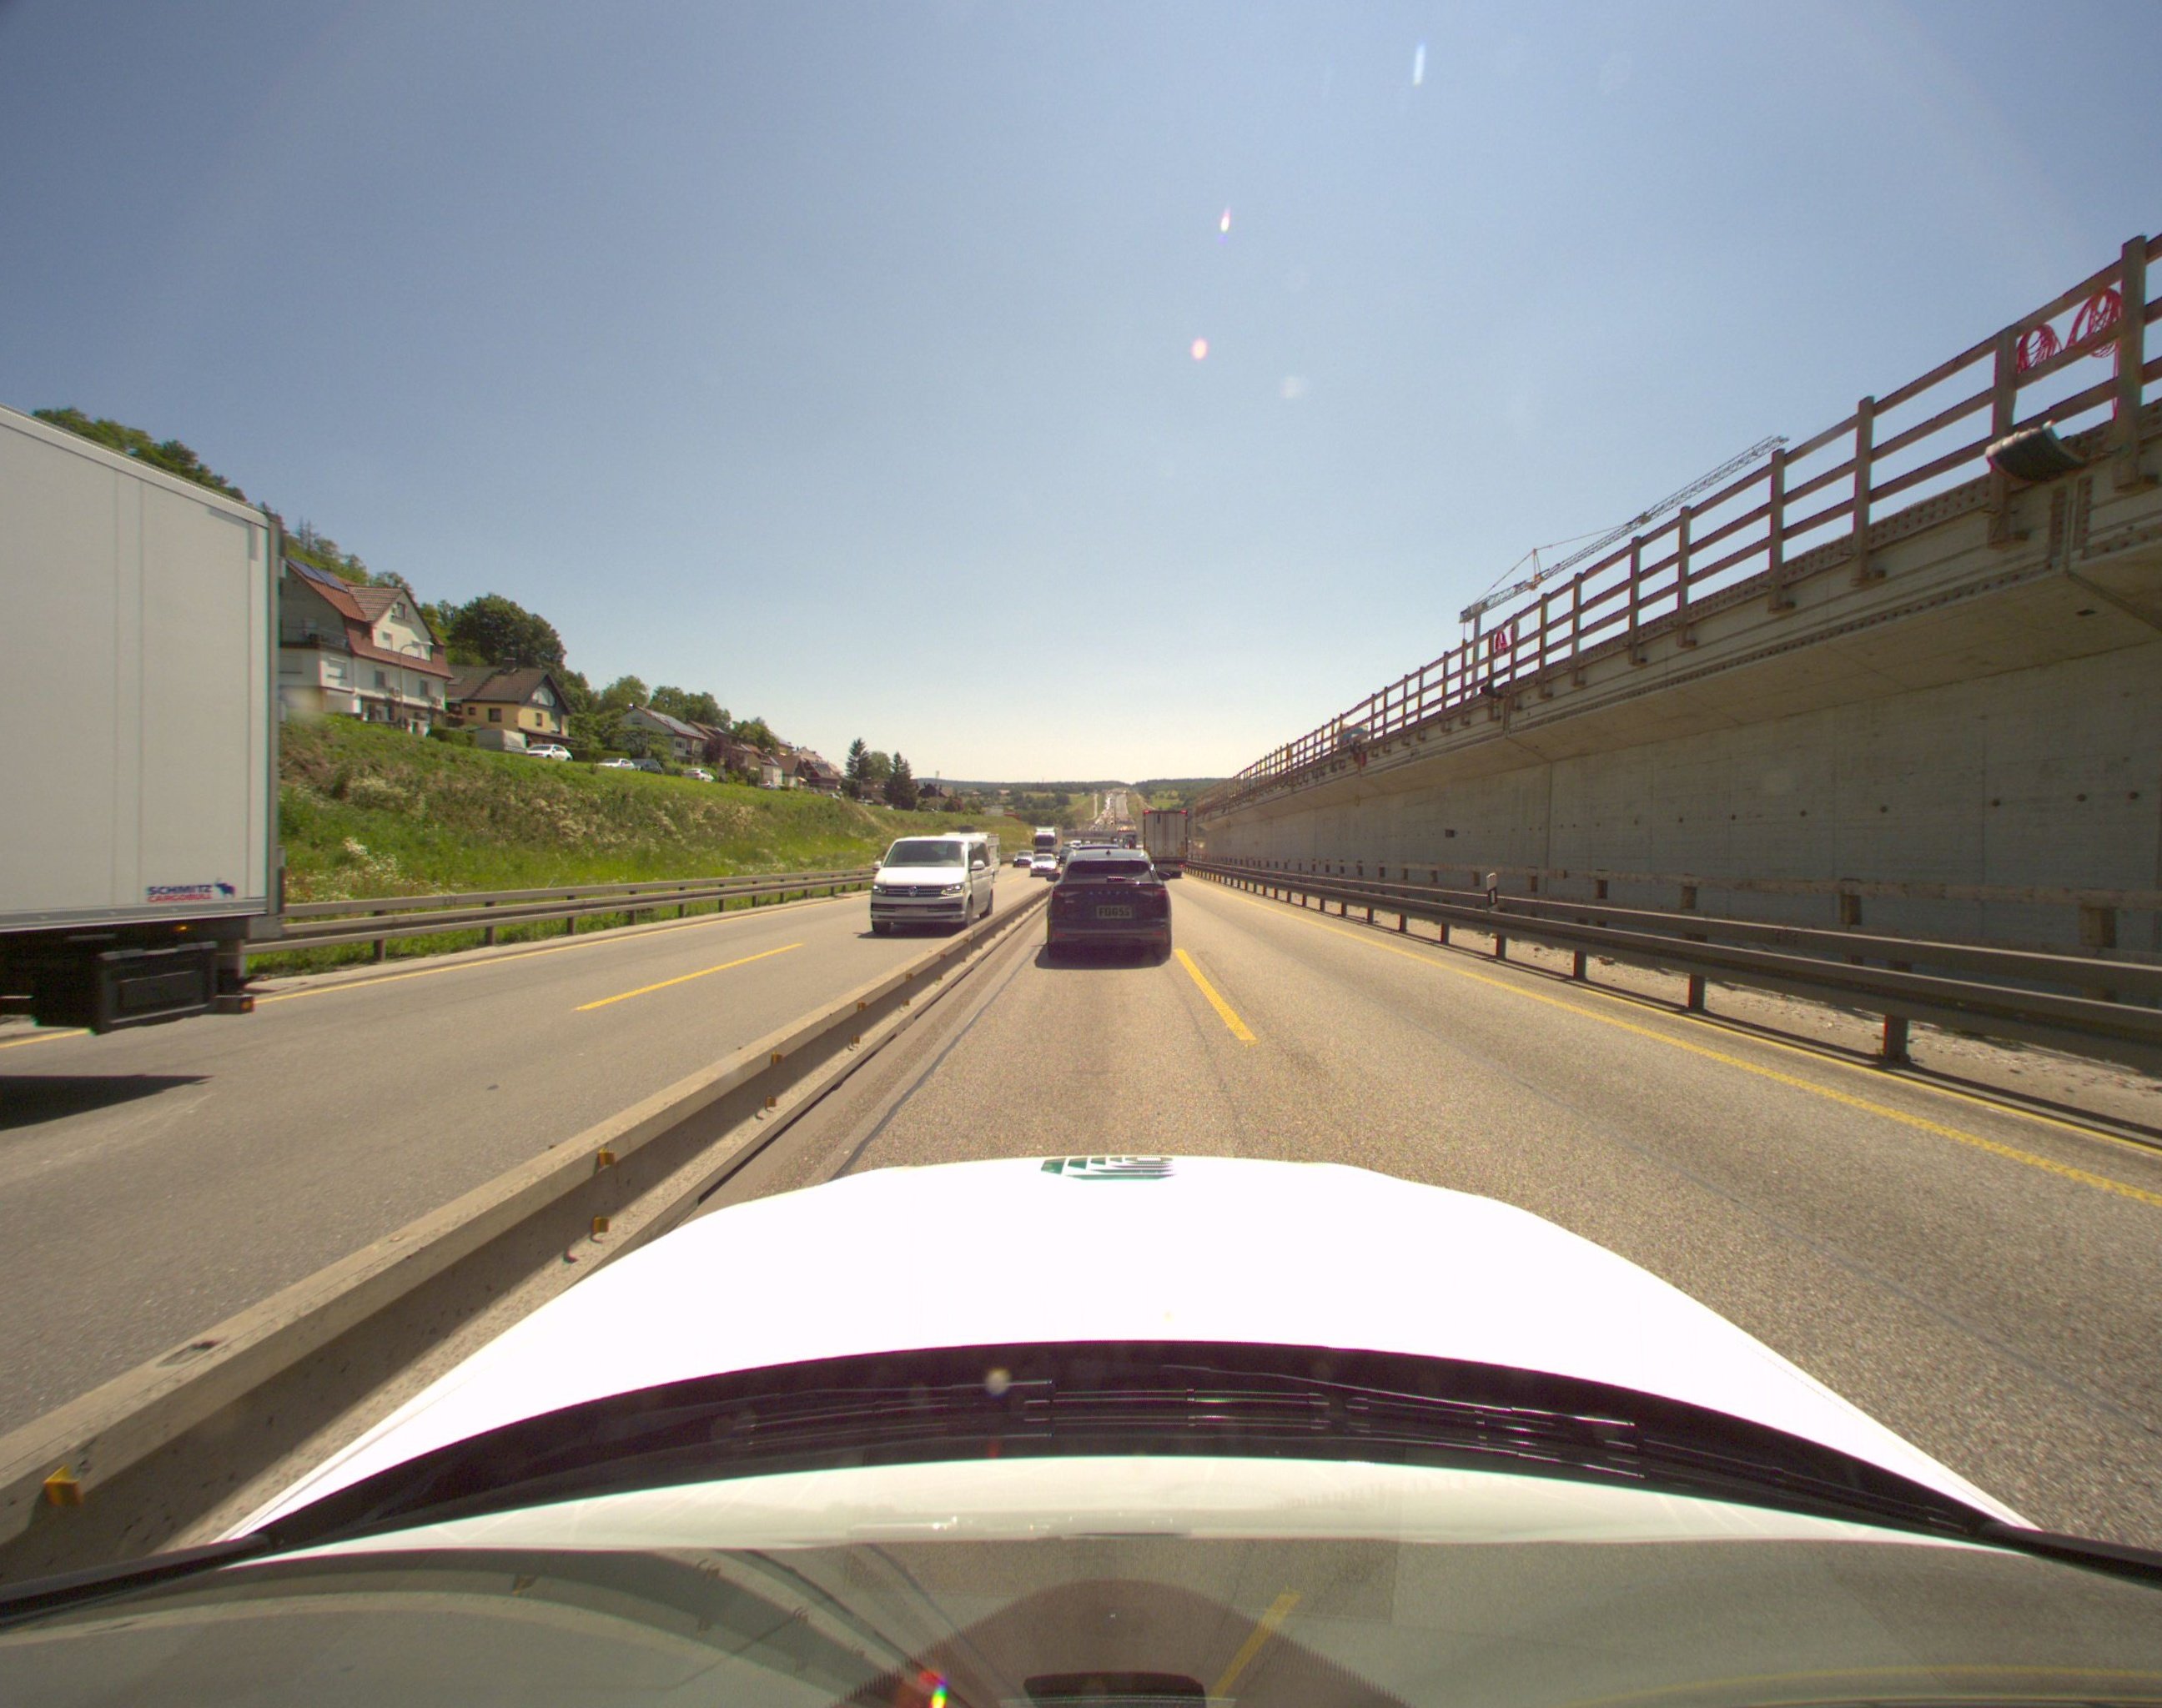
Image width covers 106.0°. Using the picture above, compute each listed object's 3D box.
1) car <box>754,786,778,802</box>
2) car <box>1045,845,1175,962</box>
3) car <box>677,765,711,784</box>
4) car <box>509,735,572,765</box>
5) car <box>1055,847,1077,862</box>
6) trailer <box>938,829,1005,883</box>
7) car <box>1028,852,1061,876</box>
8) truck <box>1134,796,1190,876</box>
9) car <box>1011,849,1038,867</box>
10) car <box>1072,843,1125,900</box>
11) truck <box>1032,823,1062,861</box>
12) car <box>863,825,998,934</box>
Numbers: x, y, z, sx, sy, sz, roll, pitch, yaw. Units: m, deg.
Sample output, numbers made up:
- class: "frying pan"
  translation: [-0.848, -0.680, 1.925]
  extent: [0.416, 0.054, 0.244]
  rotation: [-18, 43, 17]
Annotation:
- class: "car"
  translation: [-39.005, -7.441, 100.992]
  extent: [1.924, 1.728, 3.988]
  rotation: [0, 0, -9]
- class: "car"
  translation: [0.414, 0.682, 12.985]
  extent: [1.777, 1.597, 3.755]
  rotation: [0, 0, 0]
- class: "car"
  translation: [-38.507, -7.924, 81.154]
  extent: [1.993, 1.319, 3.987]
  rotation: [4, -1, -9]
- class: "car"
  translation: [-36.001, -6.905, 54.364]
  extent: [1.993, 1.319, 3.987]
  rotation: [4, -1, -9]
- class: "car"
  translation: [-1.357, 0.051, 73.869]
  extent: [1.764, 1.288, 4.002]
  rotation: [1, -1, 2]
- class: "trailer"
  translation: [-5.705, 0.132, 43.358]
  extent: [2.475, 2.613, 5.870]
  rotation: [-1, -1, 2]
- class: "car"
  translation: [-2.296, 0.647, 52.214]
  extent: [1.696, 1.441, 4.002]
  rotation: [-1, -1, 2]
- class: "truck"
  translation: [5.088, -0.957, 53.342]
  extent: [2.835, 4.615, 11.815]
  rotation: [1, -1, 2]
- class: "car"
  translation: [-4.930, 0.379, 71.414]
  extent: [1.865, 1.442, 4.000]
  rotation: [3, -1, 1]
- class: "car"
  translation: [0.583, 0.602, 29.954]
  extent: [1.744, 1.895, 3.753]
  rotation: [2, 0, -1]
- class: "truck"
  translation: [-4.031, -1.403, 99.093]
  extent: [2.742, 4.227, 8.103]
  rotation: [3, -1, 2]
- class: "car"
  translation: [-3.026, 0.504, 17.445]
  extent: [1.856, 2.014, 4.806]
  rotation: [0, -1, 1]
